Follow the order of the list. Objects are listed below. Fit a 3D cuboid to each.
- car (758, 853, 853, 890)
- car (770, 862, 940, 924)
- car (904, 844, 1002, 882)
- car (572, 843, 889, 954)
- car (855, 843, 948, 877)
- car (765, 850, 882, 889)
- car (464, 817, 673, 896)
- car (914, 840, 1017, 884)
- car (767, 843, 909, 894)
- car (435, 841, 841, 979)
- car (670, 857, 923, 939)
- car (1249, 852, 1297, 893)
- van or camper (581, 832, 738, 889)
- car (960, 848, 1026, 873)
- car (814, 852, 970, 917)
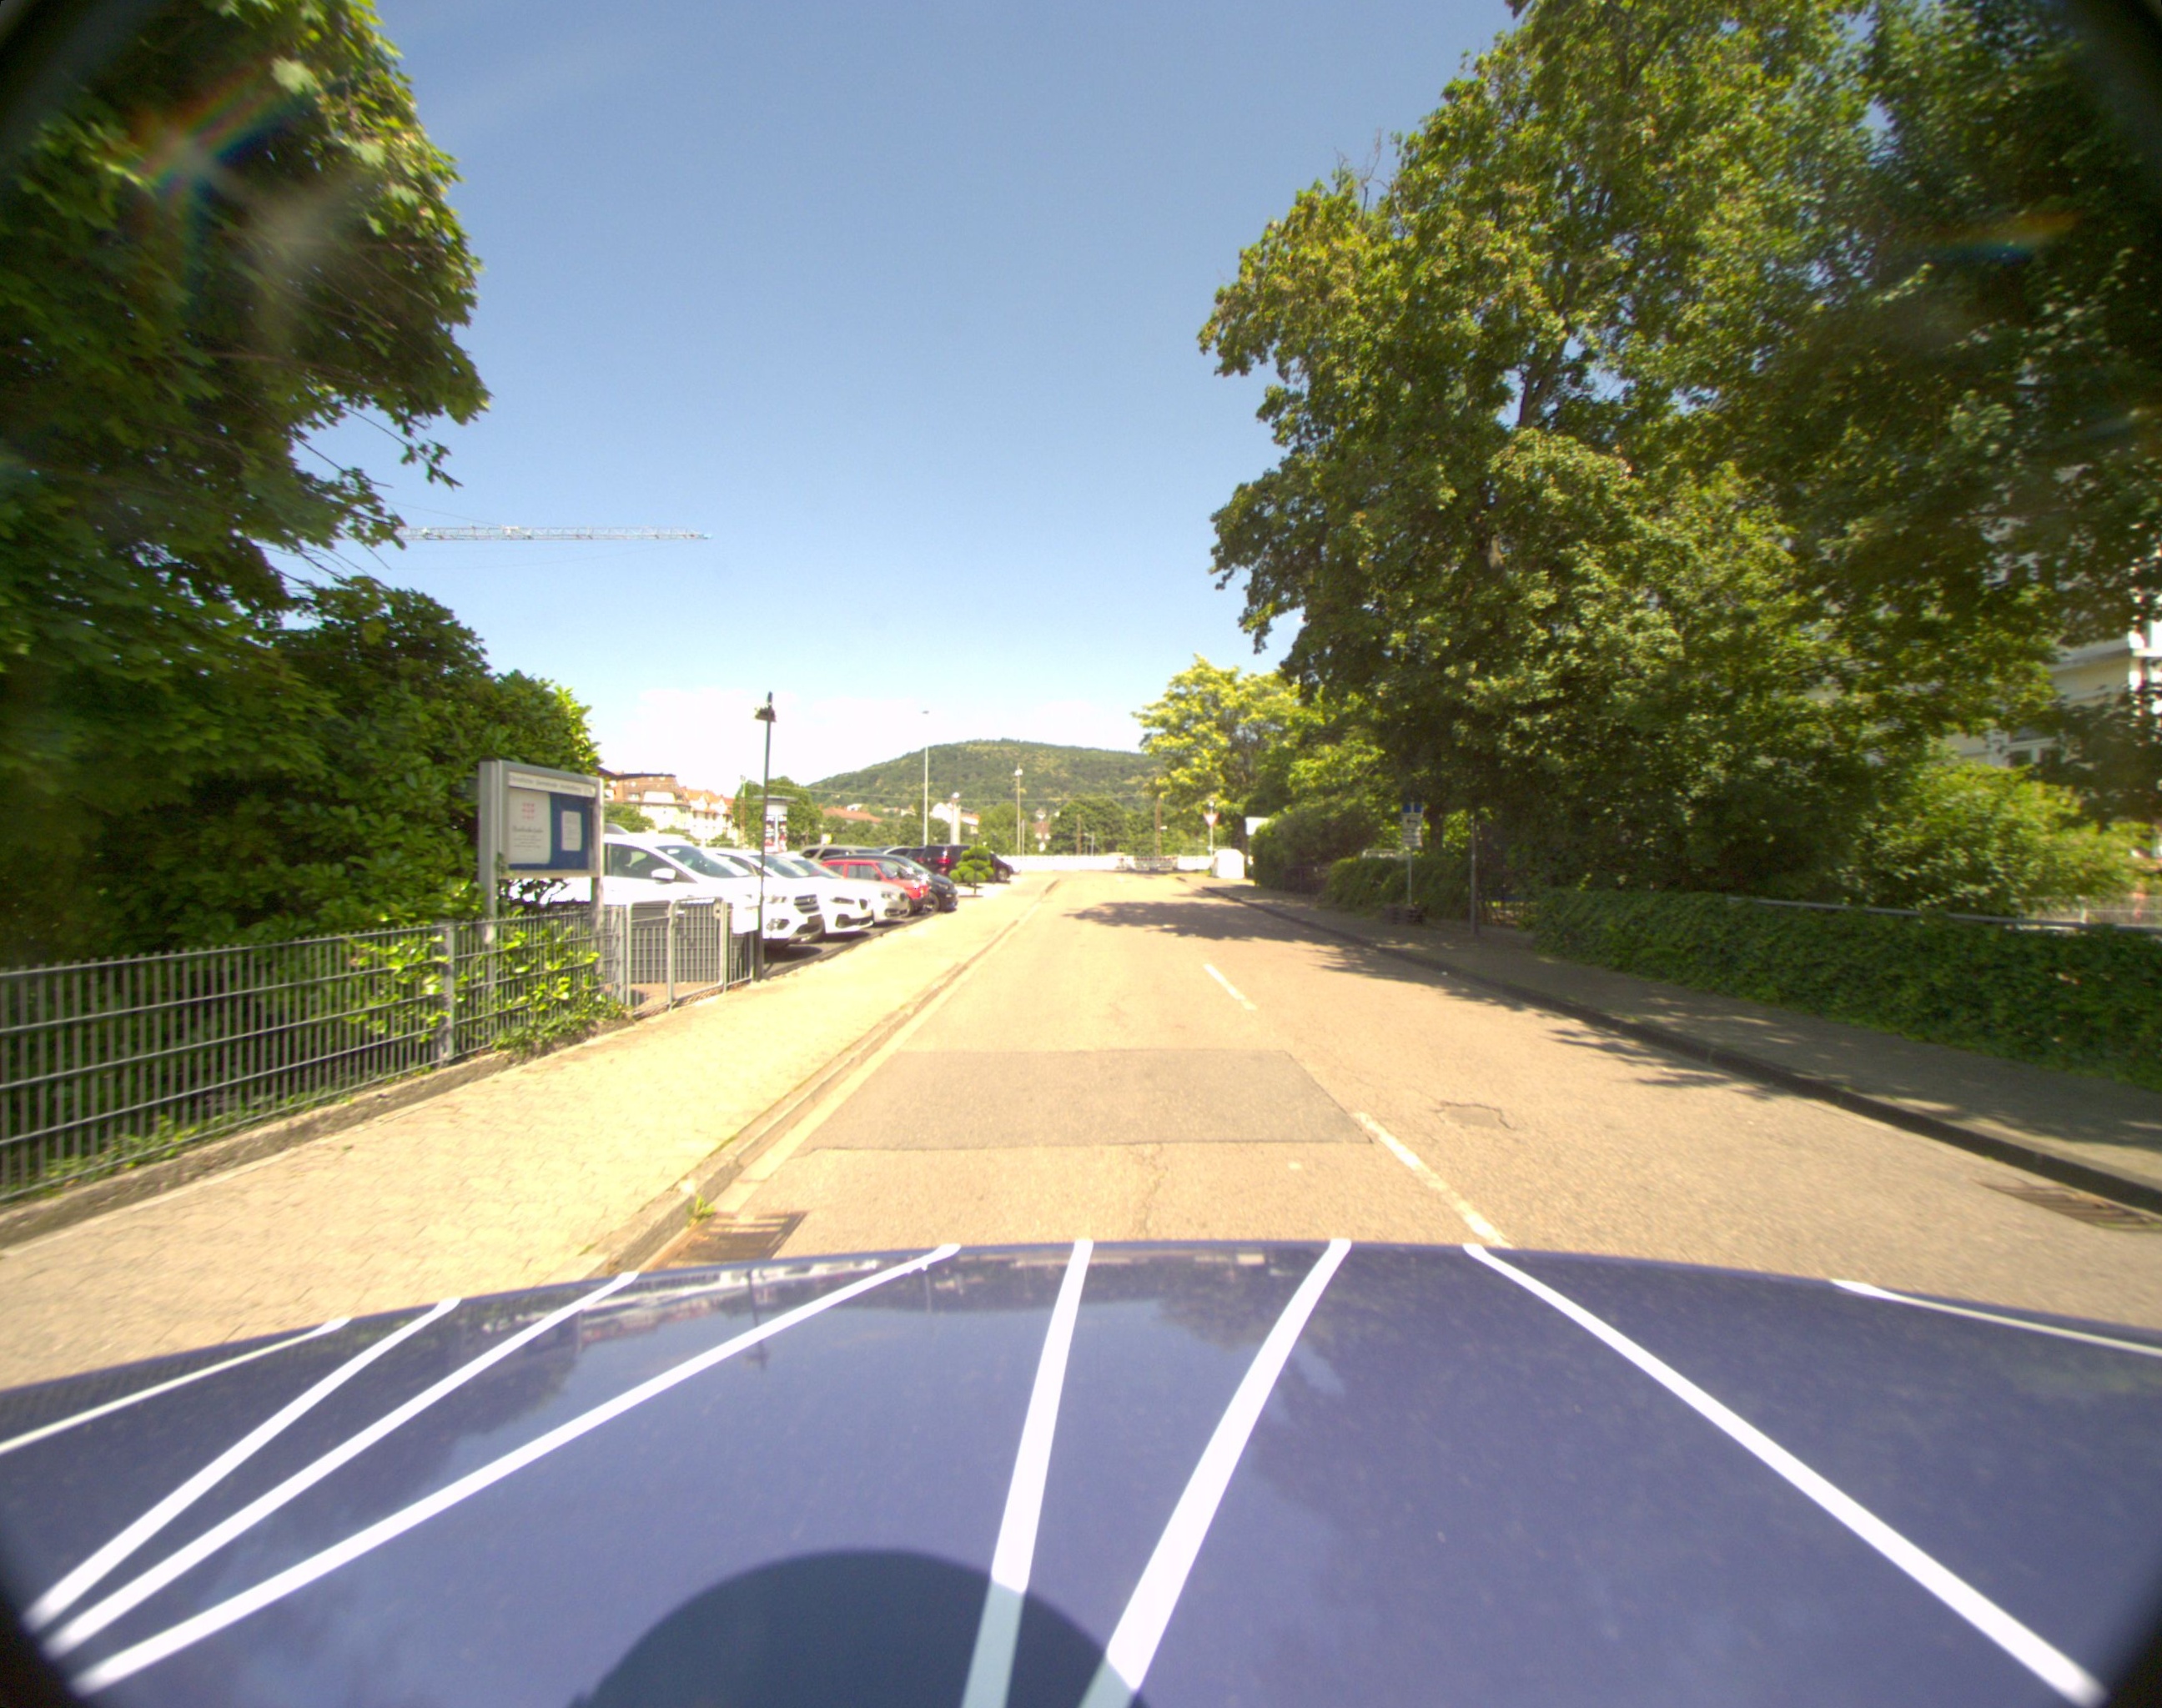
[{"bbox_3d":[-13.662,0.853,37.776,1.855,1.696,4.009,1,0,43],"label":"car"},{"bbox_3d":[-5.303,0.898,18.122,3.558,1.327,1.558,1,0,-1],"label":"car"},{"bbox_3d":[-6.324,0.426,38.068,2.011,1.769,4.828,1,0,36],"label":"car"},{"bbox_3d":[-5.732,0.701,12.870,4.414,1.519,1.897,3,0,-1],"label":"car"},{"bbox_3d":[-9.261,0.306,39.679,2.011,1.682,4.827,1,0,27],"label":"car"},{"bbox_3d":[-10.717,0.637,31.724,4.216,1.525,1.919,1,0,-40],"label":"car"},{"bbox_3d":[-18.794,0.154,28.308,6.026,2.663,2.255,2,0,-22],"label":"car"},{"bbox_3d":[-4.949,0.344,33.078,1.847,1.772,4.300,2,0,37],"label":"car"},{"bbox_3d":[-9.067,0.501,28.291,4.984,1.752,1.929,1,0,25],"label":"car"},{"bbox_3d":[-5.799,0.714,10.392,4.414,1.644,1.843,1,0,-1],"label":"car"},{"bbox_3d":[-5.656,0.854,15.504,4.414,1.488,1.897,1,0,0],"label":"car"},{"bbox_3d":[10.455,0.957,41.722,1.997,1.920,5.103,3,2,9],"label":"car"},{"bbox_3d":[-17.523,0.278,31.944,5.513,2.248,2.108,0,0,-22],"label":"van or camper"},{"bbox_3d":[-5.906,0.439,51.278,4.168,1.412,1.897,3,0,-1],"label":"car"},{"bbox_3d":[-5.088,0.805,20.865,3.812,1.614,1.759,1,0,-1],"label":"car"}]
